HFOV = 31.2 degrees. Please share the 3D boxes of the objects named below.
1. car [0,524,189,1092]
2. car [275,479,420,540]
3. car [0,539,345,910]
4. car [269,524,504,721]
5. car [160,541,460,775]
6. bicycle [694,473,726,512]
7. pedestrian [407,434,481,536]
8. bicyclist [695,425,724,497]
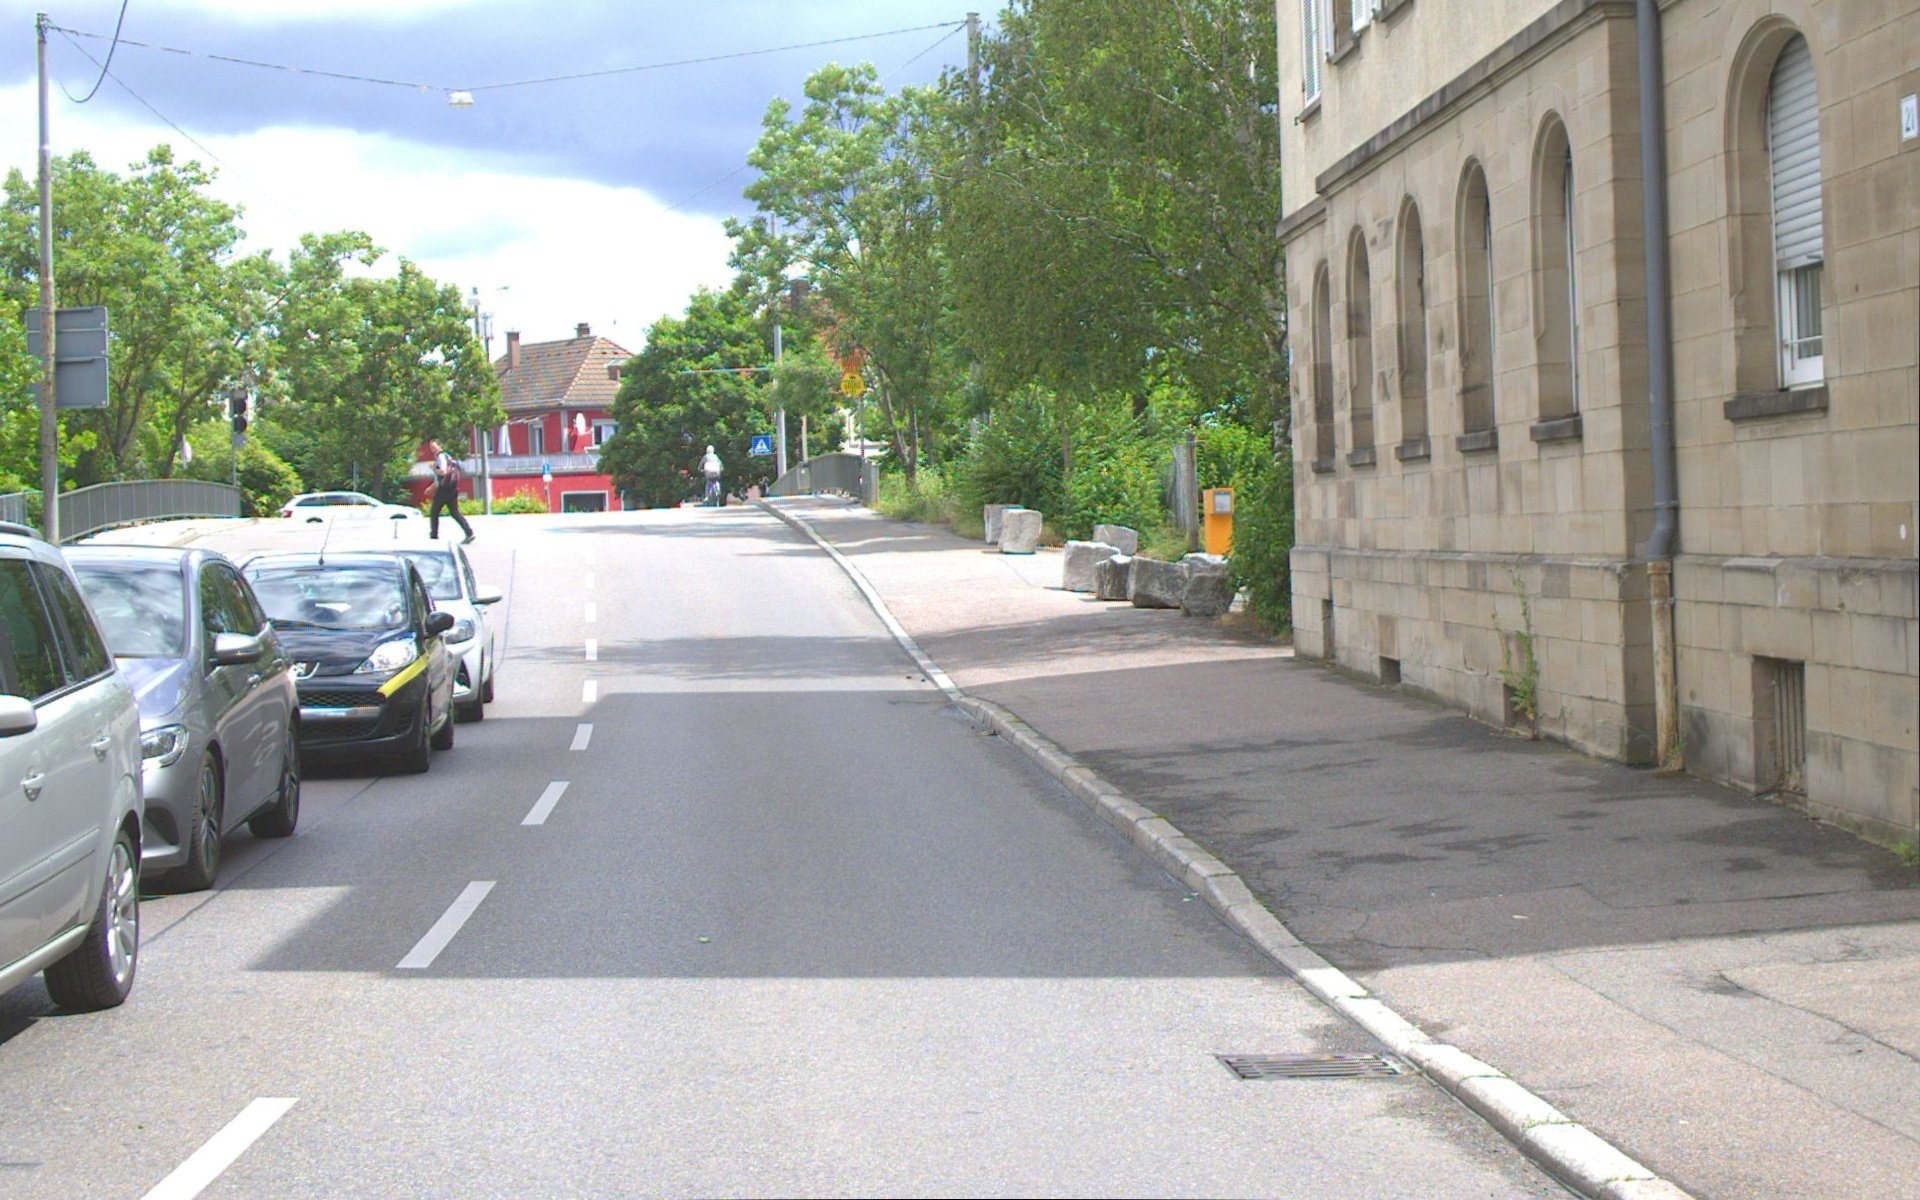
[{"bbox_3d":[-3.524,0.569,9.892,1.719,1.576,4.319,0,1,-1],"label":"car"},{"bbox_3d":[-19.762,-2.905,110.826,4.416,1.825,2.001,1,0,-15],"label":"car"},{"bbox_3d":[-4.204,0.507,16.777,1.719,1.576,4.251,0,1,-1],"label":"car"},{"bbox_3d":[-4.867,0.160,29.598,1.718,1.576,4.001,0,1,-6],"label":"car"},{"bbox_3d":[-4.373,0.354,23.528,1.718,1.479,3.323,0,1,-6],"label":"car"},{"bbox_3d":[-6.606,-2.837,90.922,0.687,0.875,2.101,-1,-3,-1],"label":"bicycle"},{"bbox_3d":[-9.374,-2.096,62.478,1.034,1.830,0.999,0,3,10],"label":"pedestrian"},{"bbox_3d":[-6.616,-3.665,90.915,0.684,1.820,1.080,-1,-3,-1],"label":"bicyclist"}]
